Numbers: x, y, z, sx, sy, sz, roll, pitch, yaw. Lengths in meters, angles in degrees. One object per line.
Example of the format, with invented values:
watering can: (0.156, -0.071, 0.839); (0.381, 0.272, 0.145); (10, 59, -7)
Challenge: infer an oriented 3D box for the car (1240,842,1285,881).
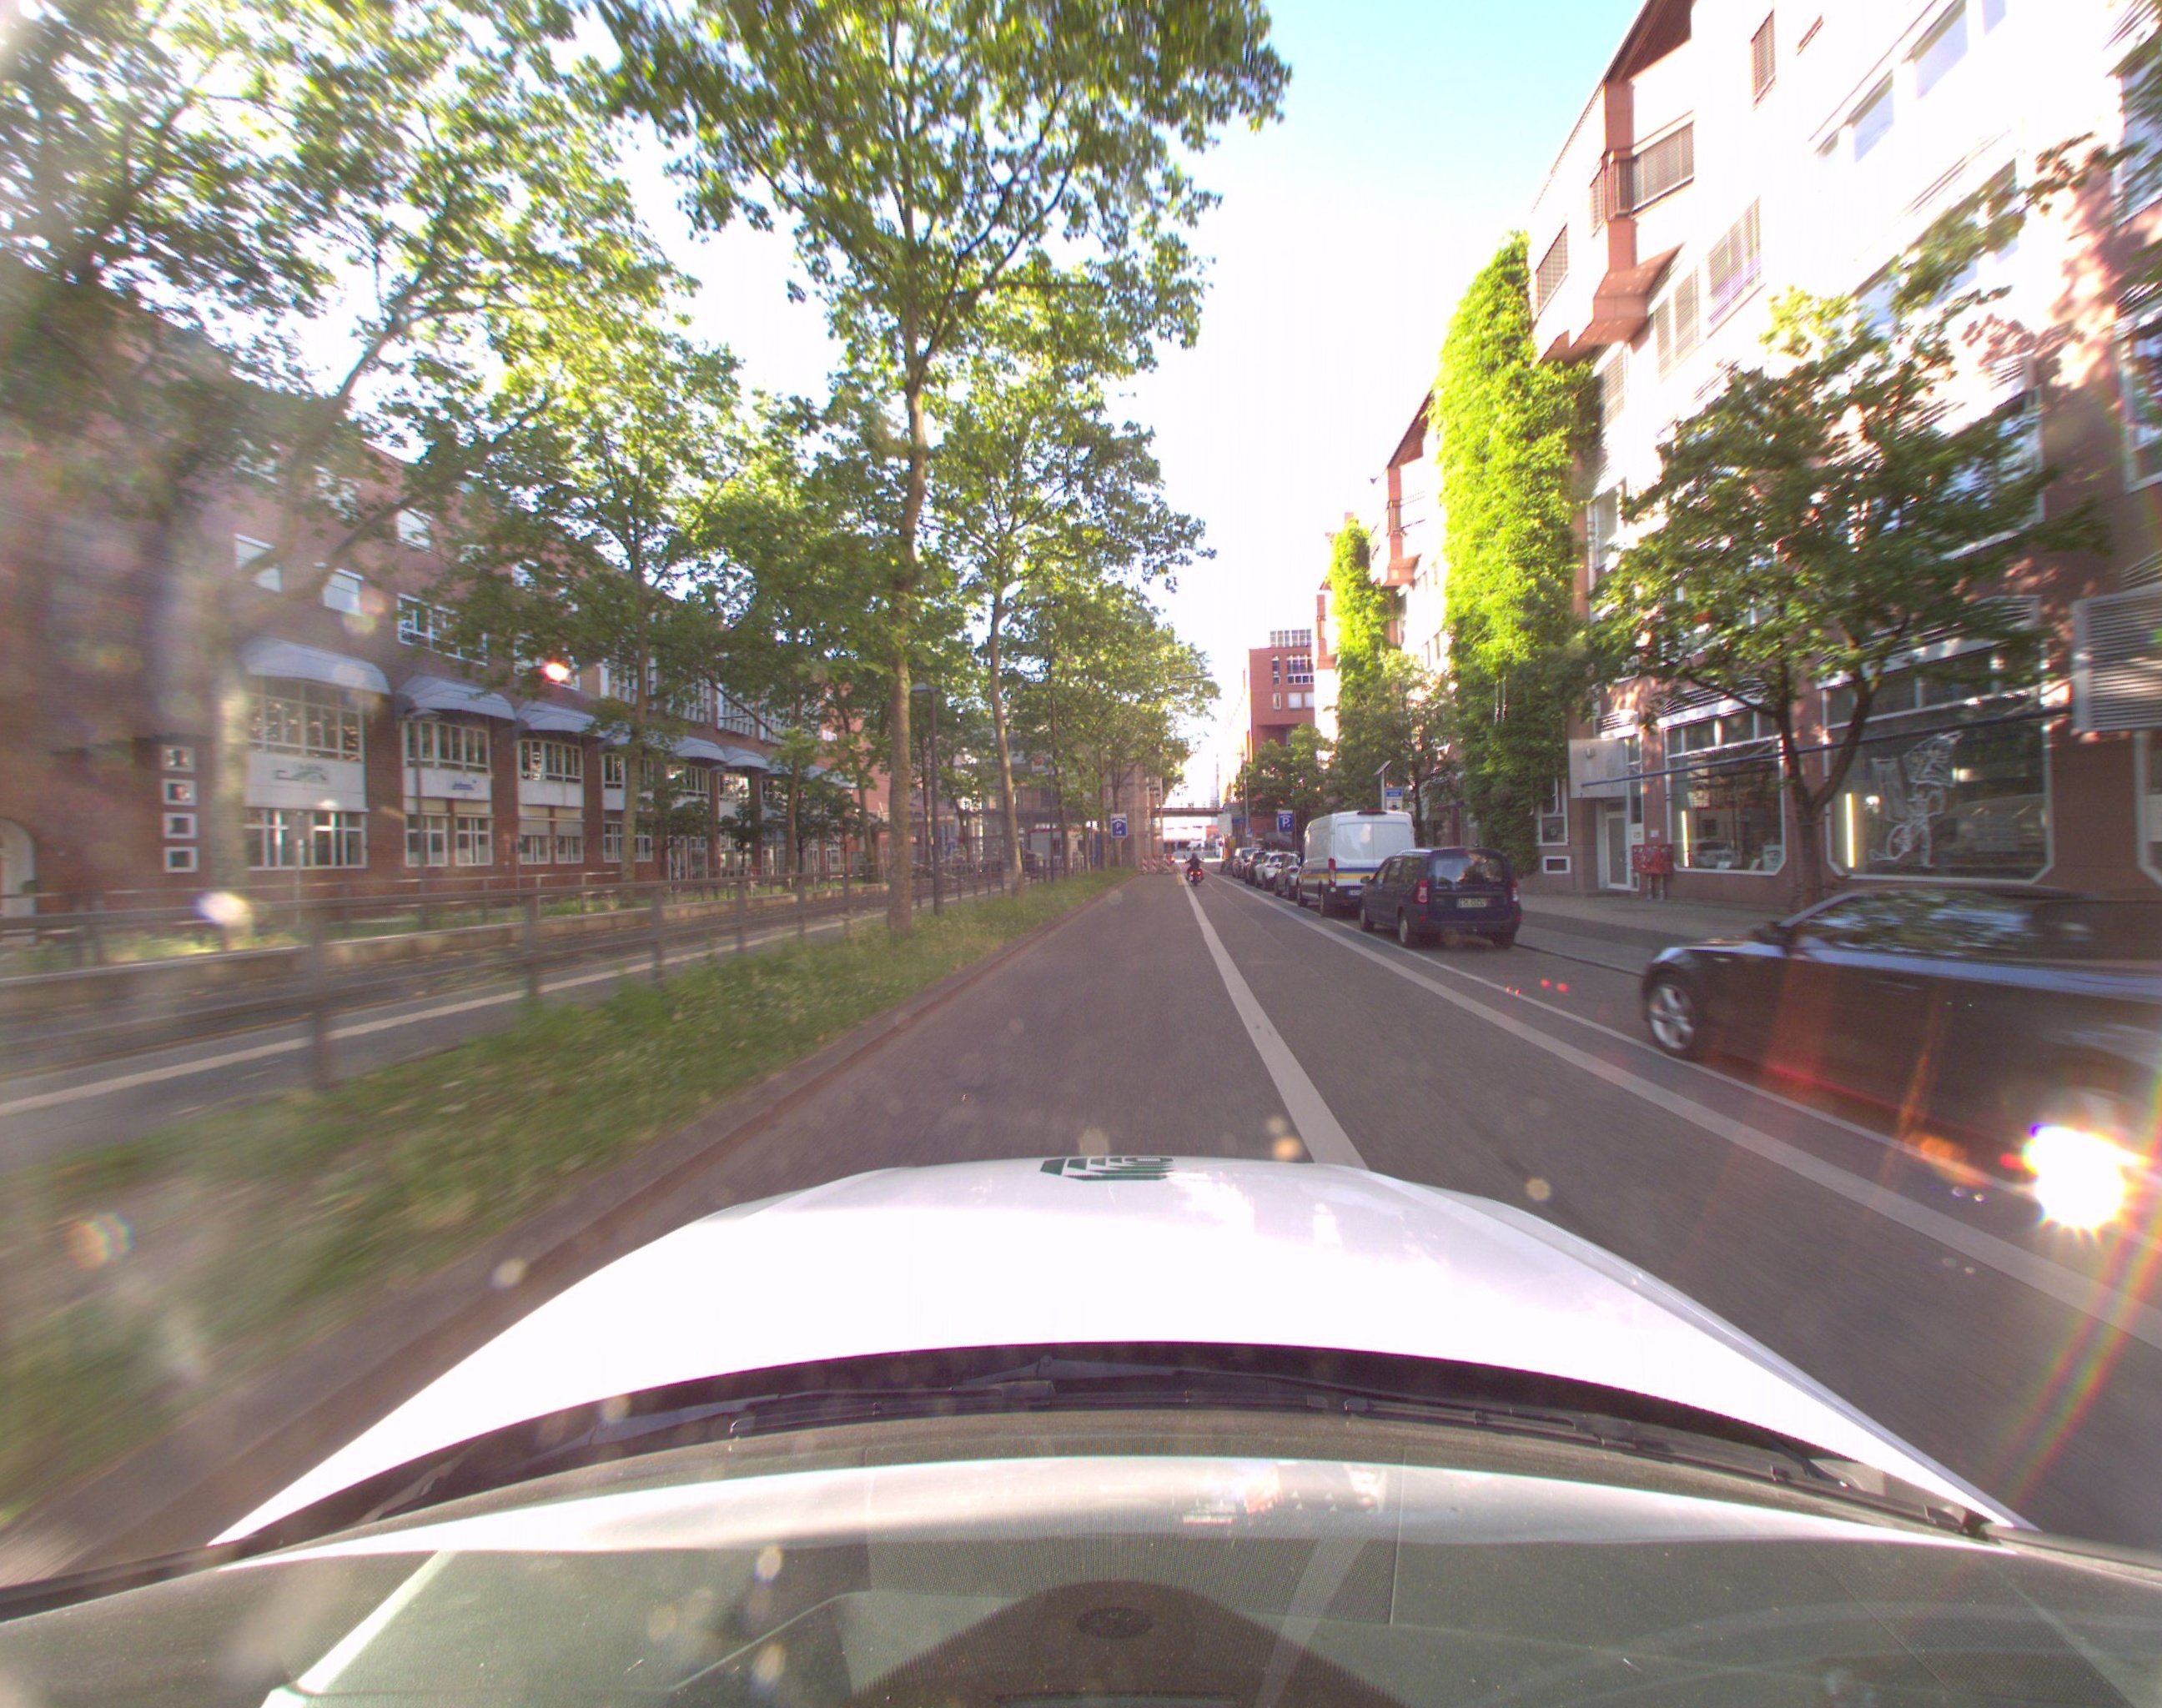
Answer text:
car: (9.893, 0.399, 44.703); (1.827, 2.013, 4.394); (-2, 0, 5)

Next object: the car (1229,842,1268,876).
car: (10.370, 0.294, 50.695); (1.827, 2.013, 4.394); (-2, 0, 5)

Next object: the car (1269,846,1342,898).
car: (7.504, 0.565, 27.531); (1.613, 1.603, 3.778); (-2, 0, 4)

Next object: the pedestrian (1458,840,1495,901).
pedestrian: (9.642, 0.408, 19.894); (0.758, 1.445, 0.784); (-1, -1, 23)

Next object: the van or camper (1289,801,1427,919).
van or camper: (6.845, 0.137, 20.852); (2.038, 2.540, 5.782); (-2, 0, 6)

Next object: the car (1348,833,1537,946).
car: (6.028, 0.526, 14.172); (1.612, 1.619, 4.492); (-2, 0, 5)

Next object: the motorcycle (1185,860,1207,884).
motorcycle: (5.503, 0.848, 38.909); (1.012, 1.097, 2.012); (-1, 0, 8)

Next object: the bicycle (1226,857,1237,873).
bicycle: (11.493, 0.825, 62.212); (0.660, 1.234, 2.232); (-2, 0, 7)

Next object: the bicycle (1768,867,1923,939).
bicycle: (12.034, 0.736, 12.920); (0.616, 1.020, 1.912); (-1, 0, -2)

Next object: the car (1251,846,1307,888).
car: (8.220, 0.524, 34.079); (1.613, 1.610, 3.778); (-2, 0, 4)

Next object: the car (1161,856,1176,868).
car: (12.606, 1.144, 117.398); (1.844, 1.717, 4.002); (-2, 0, 2)

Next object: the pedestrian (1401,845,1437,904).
pedestrian: (9.668, 0.575, 23.300); (0.760, 1.645, 0.547); (-2, -1, -2)

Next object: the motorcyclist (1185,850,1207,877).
motorcyclist: (5.525, 0.429, 39.053); (1.006, 1.263, 0.776); (1, 0, 8)

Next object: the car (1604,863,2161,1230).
car: (4.988, 0.748, 4.541); (1.613, 1.302, 4.317); (-2, 0, 4)

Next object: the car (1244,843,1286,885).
car: (8.680, 0.445, 38.685); (1.611, 1.865, 3.783); (-2, 0, 8)

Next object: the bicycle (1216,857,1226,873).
bicycle: (10.718, 0.836, 62.321); (0.660, 1.234, 2.232); (-2, 0, 7)
